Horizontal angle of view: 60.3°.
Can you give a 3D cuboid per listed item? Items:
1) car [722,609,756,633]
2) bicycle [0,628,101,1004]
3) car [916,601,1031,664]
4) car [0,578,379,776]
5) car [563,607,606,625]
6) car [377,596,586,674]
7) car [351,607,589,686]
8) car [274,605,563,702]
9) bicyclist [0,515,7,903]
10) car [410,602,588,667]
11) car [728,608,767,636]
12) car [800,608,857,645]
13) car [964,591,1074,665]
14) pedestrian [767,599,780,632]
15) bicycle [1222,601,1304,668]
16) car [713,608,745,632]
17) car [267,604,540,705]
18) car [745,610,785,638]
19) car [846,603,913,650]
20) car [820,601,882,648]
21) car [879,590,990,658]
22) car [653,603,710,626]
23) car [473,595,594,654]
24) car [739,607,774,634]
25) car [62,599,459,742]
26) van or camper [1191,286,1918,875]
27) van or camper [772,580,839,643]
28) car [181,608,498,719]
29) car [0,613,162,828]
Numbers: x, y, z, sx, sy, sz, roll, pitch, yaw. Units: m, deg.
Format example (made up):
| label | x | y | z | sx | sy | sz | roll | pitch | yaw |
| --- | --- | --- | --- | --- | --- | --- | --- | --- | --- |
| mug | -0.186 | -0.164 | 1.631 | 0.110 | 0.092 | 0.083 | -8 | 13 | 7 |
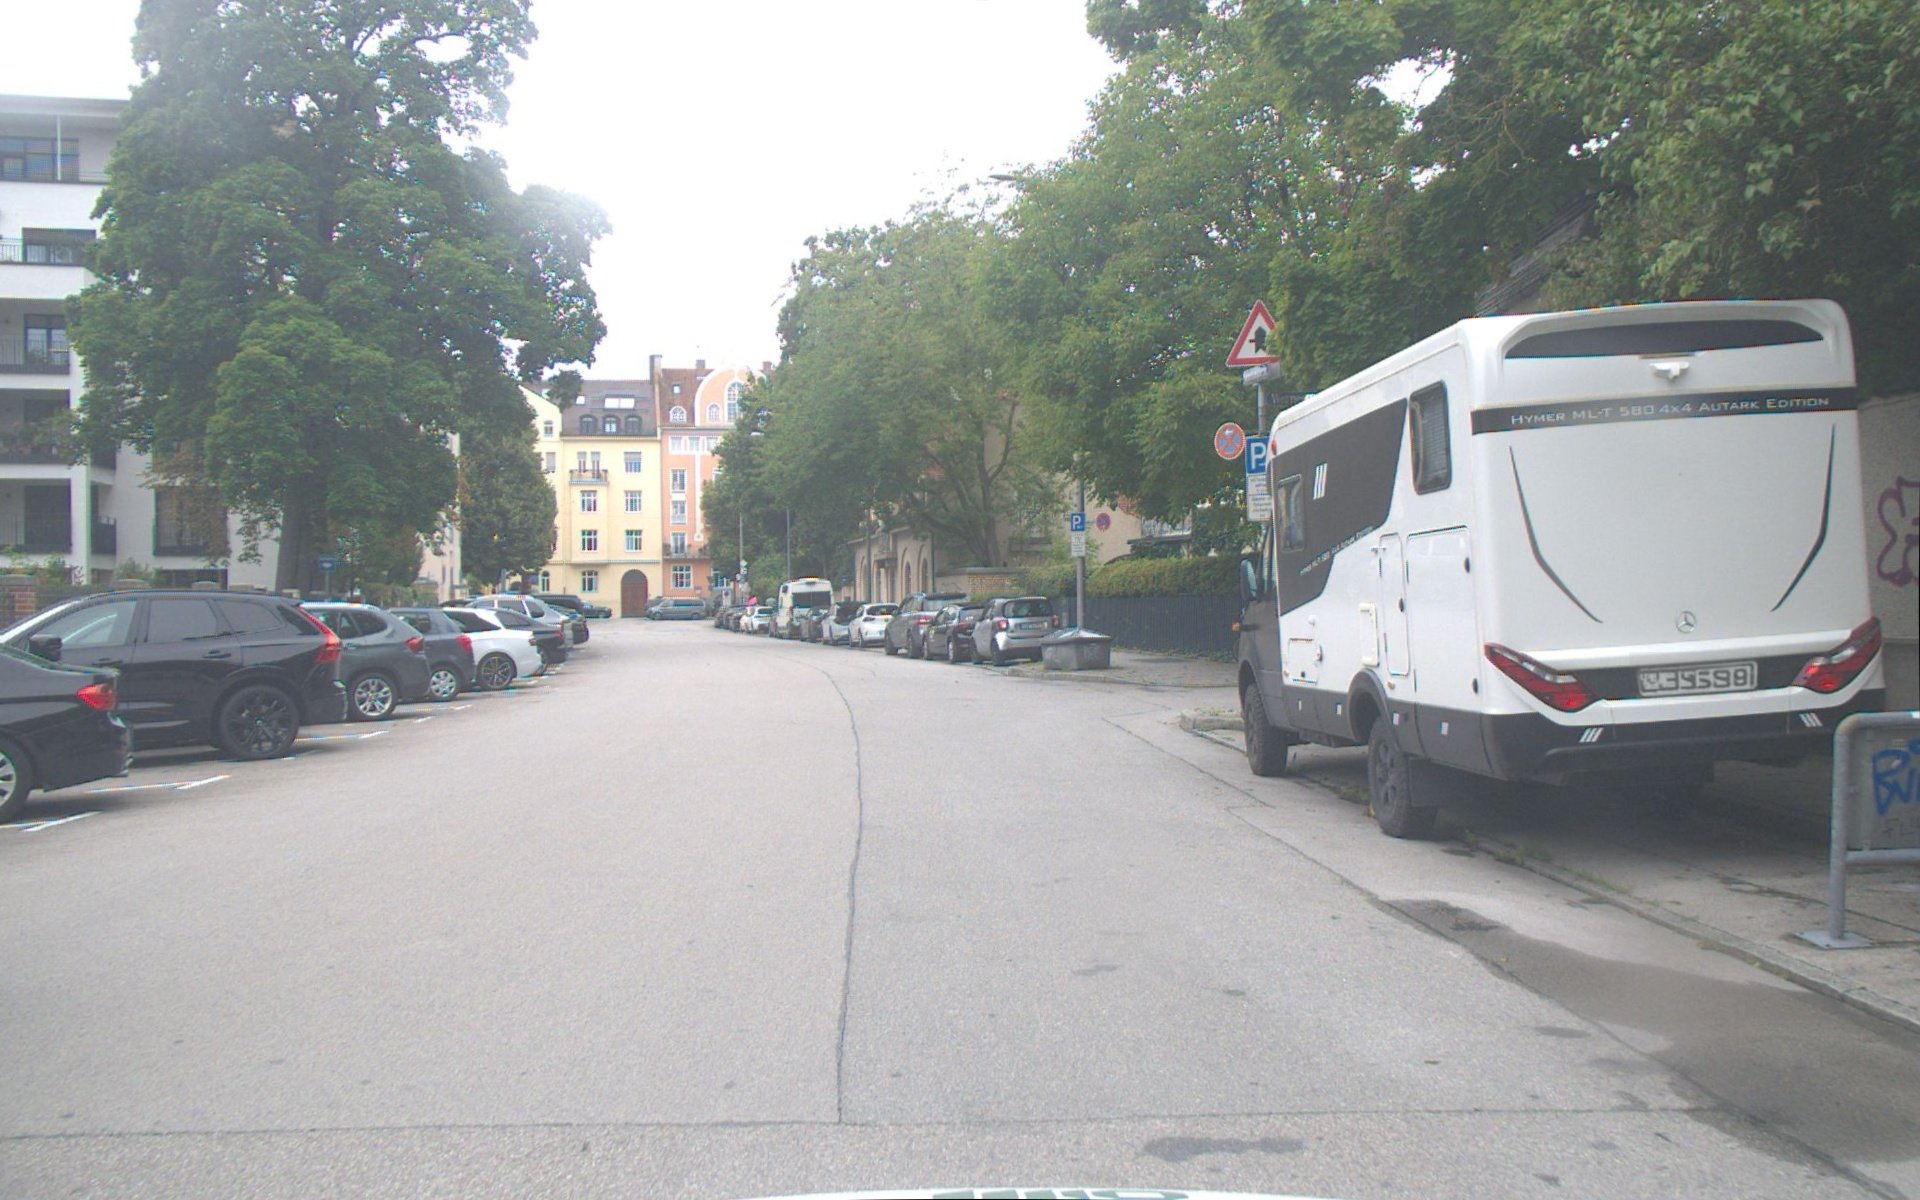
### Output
| label | x | y | z | sx | sy | sz | roll | pitch | yaw |
| --- | --- | --- | --- | --- | --- | --- | --- | --- | --- |
| car | -14.130 | 1.318 | 105.494 | 1.643 | 1.367 | 3.822 | -2 | 2 | -15 |
| bicycle | -3.767 | 0.782 | 5.537 | 0.692 | 1.328 | 2.118 | -1 | 0 | -1 |
| car | 0.279 | 0.795 | 42.261 | 1.846 | 1.452 | 4.205 | -3 | 0 | -15 |
| car | -8.261 | 0.725 | 16.260 | 4.471 | 1.694 | 1.965 | -2 | 0 | -33 |
| car | -36.139 | 1.511 | 159.348 | 3.916 | 1.614 | 1.698 | -1 | 0 | -12 |
| car | -11.508 | 0.825 | 39.931 | 2.101 | 1.729 | 4.381 | -2 | -1 | 45 |
| car | -10.141 | 0.941 | 34.435 | 4.378 | 1.464 | 1.934 | -1 | -1 | -44 |
| car | -9.434 | 0.892 | 28.977 | 4.469 | 1.476 | 1.872 | -2 | 0 | -37 |
| bicyclist | -3.749 | 0.392 | 5.439 | 0.682 | 1.376 | 0.930 | -1 | 0 | -1 |
| car | -12.856 | 0.933 | 46.167 | 4.360 | 1.649 | 2.062 | -1 | -1 | -34 |
| car | -12.909 | 1.330 | 100.212 | 1.774 | 1.491 | 3.821 | -2 | 2 | -16 |
| car | -5.344 | 1.049 | 66.709 | 1.677 | 1.393 | 4.427 | -2 | 0 | -12 |
| car | 1.334 | 0.648 | 38.272 | 1.710 | 1.563 | 2.934 | -3 | -1 | -15 |
| pedestrian | -11.618 | 0.945 | 102.963 | 0.760 | 2.049 | 0.560 | -1 | -1 | -15 |
| bicycle | 5.635 | 0.627 | 30.900 | 0.792 | 1.182 | 1.967 | -1 | 0 | -13 |
| car | -15.413 | 1.328 | 110.234 | 1.643 | 1.367 | 3.822 | -2 | 2 | -15 |
| car | -10.436 | 0.991 | 31.151 | 4.469 | 1.536 | 1.906 | -4 | 1 | -37 |
| car | -10.798 | 1.320 | 91.253 | 1.678 | 1.432 | 4.115 | -2 | 0 | -13 |
| car | -2.766 | 0.891 | 56.120 | 1.656 | 1.466 | 3.988 | -2 | -1 | -12 |
| car | -4.066 | 0.890 | 61.079 | 1.677 | 1.564 | 4.227 | -3 | 0 | -12 |
| car | -0.795 | 0.665 | 46.765 | 1.961 | 1.741 | 4.865 | -3 | 0 | -15 |
| car | -23.445 | 1.223 | 139.263 | 4.625 | 1.913 | 1.833 | 0 | -1 | -15 |
| car | -16.491 | 0.934 | 64.045 | 4.182 | 2.102 | 1.710 | -2 | 0 | -42 |
| car | -11.817 | 1.171 | 96.075 | 1.677 | 1.491 | 3.826 | -2 | 0 | -12 |
| car | -9.040 | 0.841 | 21.520 | 4.474 | 1.595 | 1.867 | -1 | 0 | -35 |
| van or camper | 3.546 | -0.113 | 12.040 | 2.228 | 2.957 | 7.271 | -1 | 0 | -4 |
| van or camper | -6.906 | 0.515 | 73.377 | 2.155 | 2.594 | 5.708 | -2 | 0 | -13 |
| car | -9.560 | 0.924 | 25.619 | 4.343 | 1.476 | 1.637 | -2 | 0 | -34 |
| car | -8.199 | 0.926 | 11.609 | 4.471 | 1.442 | 1.906 | -3 | 0 | -33 |
